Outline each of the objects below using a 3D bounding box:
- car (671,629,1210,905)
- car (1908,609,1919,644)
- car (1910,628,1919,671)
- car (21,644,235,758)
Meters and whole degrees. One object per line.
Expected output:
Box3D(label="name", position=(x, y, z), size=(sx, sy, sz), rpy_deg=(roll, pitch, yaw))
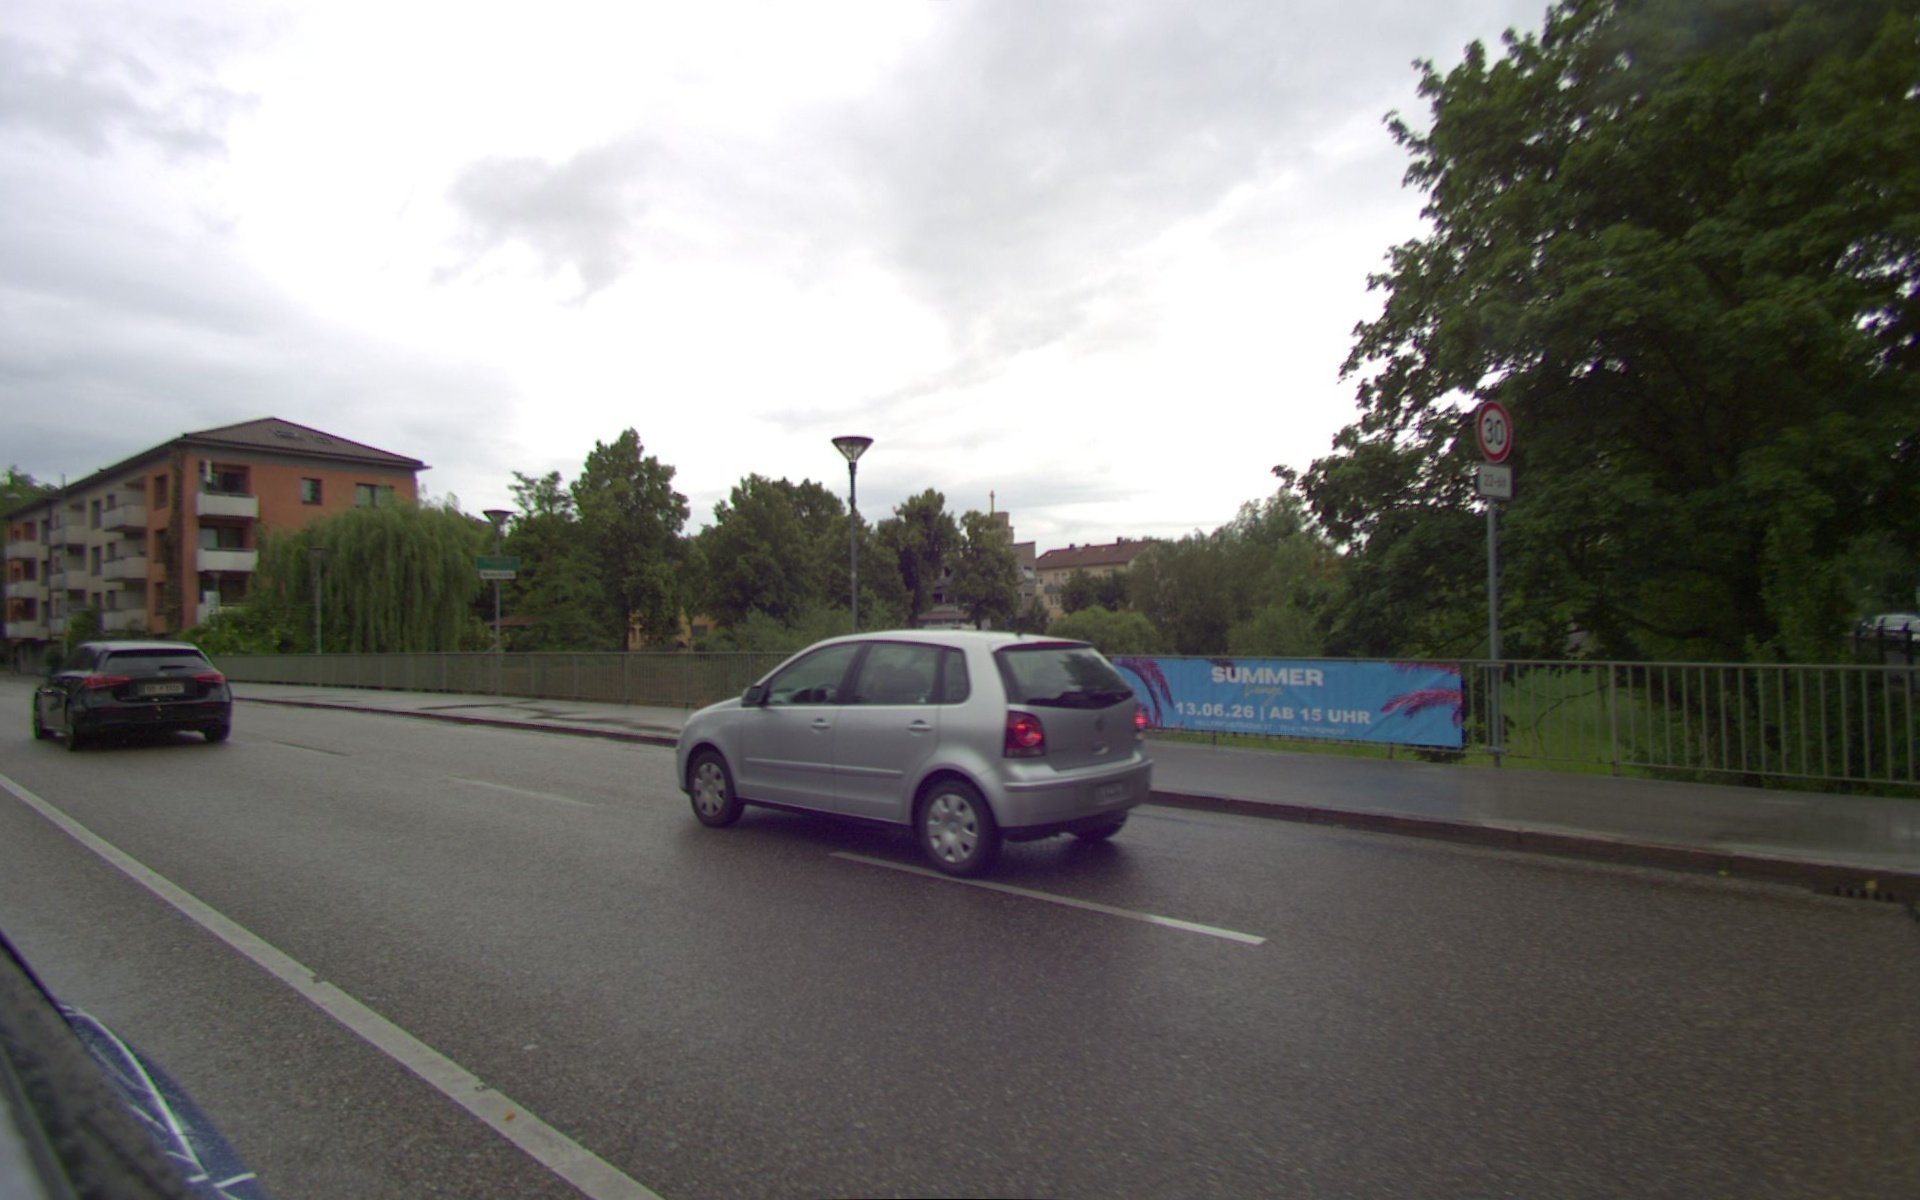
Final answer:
Box3D(label="car", position=(-0.305, 0.936, 7.118), size=(3.684, 1.430, 1.609), rpy_deg=(-2, -3, 41))
Box3D(label="car", position=(46.582, 1.202, 47.500), size=(1.993, 1.666, 4.706), rpy_deg=(-5, -3, 32))
Box3D(label="car", position=(38.000, 1.884, 38.261), size=(1.993, 1.666, 4.706), rpy_deg=(-5, -3, 32))
Box3D(label="car", position=(-12.127, 1.368, 14.669), size=(4.091, 1.427, 1.692), rpy_deg=(-3, -4, 41))
